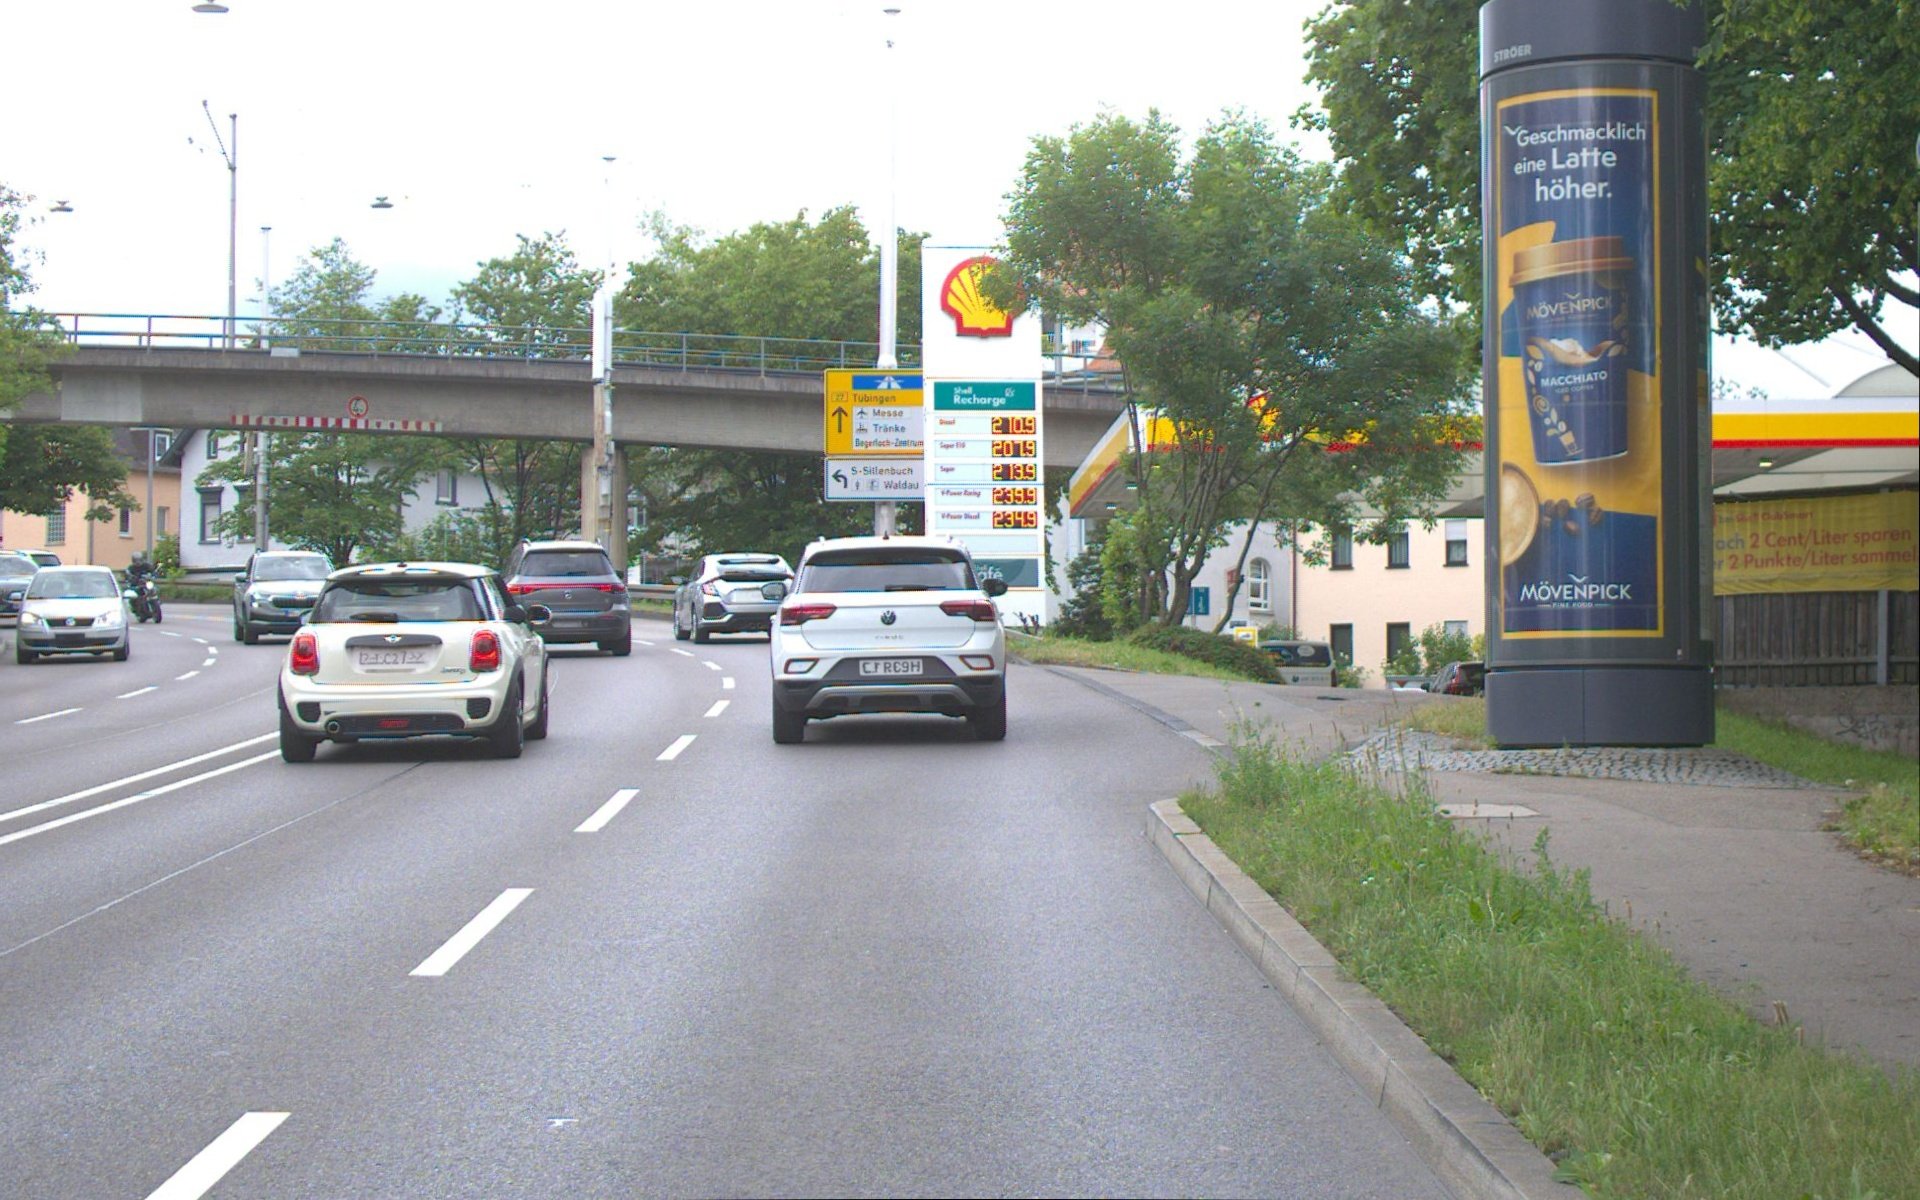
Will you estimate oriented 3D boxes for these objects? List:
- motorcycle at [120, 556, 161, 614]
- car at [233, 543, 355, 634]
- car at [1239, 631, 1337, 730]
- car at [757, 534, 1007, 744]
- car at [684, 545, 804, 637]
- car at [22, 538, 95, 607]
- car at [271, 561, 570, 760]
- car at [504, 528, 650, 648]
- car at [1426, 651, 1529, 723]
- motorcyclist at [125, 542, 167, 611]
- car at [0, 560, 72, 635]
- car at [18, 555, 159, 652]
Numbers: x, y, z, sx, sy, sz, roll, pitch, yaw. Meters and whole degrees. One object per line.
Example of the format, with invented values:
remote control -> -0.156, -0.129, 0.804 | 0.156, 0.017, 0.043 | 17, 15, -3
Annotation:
motorcycle -> -18.554, -0.348, 77.839 | 0.590, 1.300, 2.458 | 0, 1, -21
car -> -11.679, -0.224, 60.511 | 1.785, 1.533, 4.076 | 0, 1, -6
car -> 7.024, 1.760, 74.049 | 1.735, 2.004, 4.712 | -1, -3, 1
car -> -0.585, 0.261, 26.725 | 1.797, 1.514, 3.457 | 1, 1, -1
car -> -3.492, -0.162, 55.091 | 1.675, 1.404, 3.457 | 1, 1, -8
car -> -25.882, -0.805, 98.630 | 1.897, 1.931, 4.001 | 0, 1, -17
car -> -3.974, 0.403, 25.796 | 1.722, 1.371, 3.457 | 1, 1, -1
car -> -5.444, -0.184, 49.198 | 1.722, 1.634, 3.457 | 1, 1, -1
car -> 11.279, 1.927, 75.113 | 1.735, 1.481, 3.877 | -1, -3, 1
motorcyclist -> -18.464, -0.527, 77.927 | 0.800, 1.550, 1.000 | 0, 1, -21
car -> -20.881, -0.081, 76.354 | 1.784, 1.570, 4.469 | -2, 1, -20
car -> -13.469, 0.031, 53.309 | 1.565, 1.426, 3.892 | 0, 1, -6
